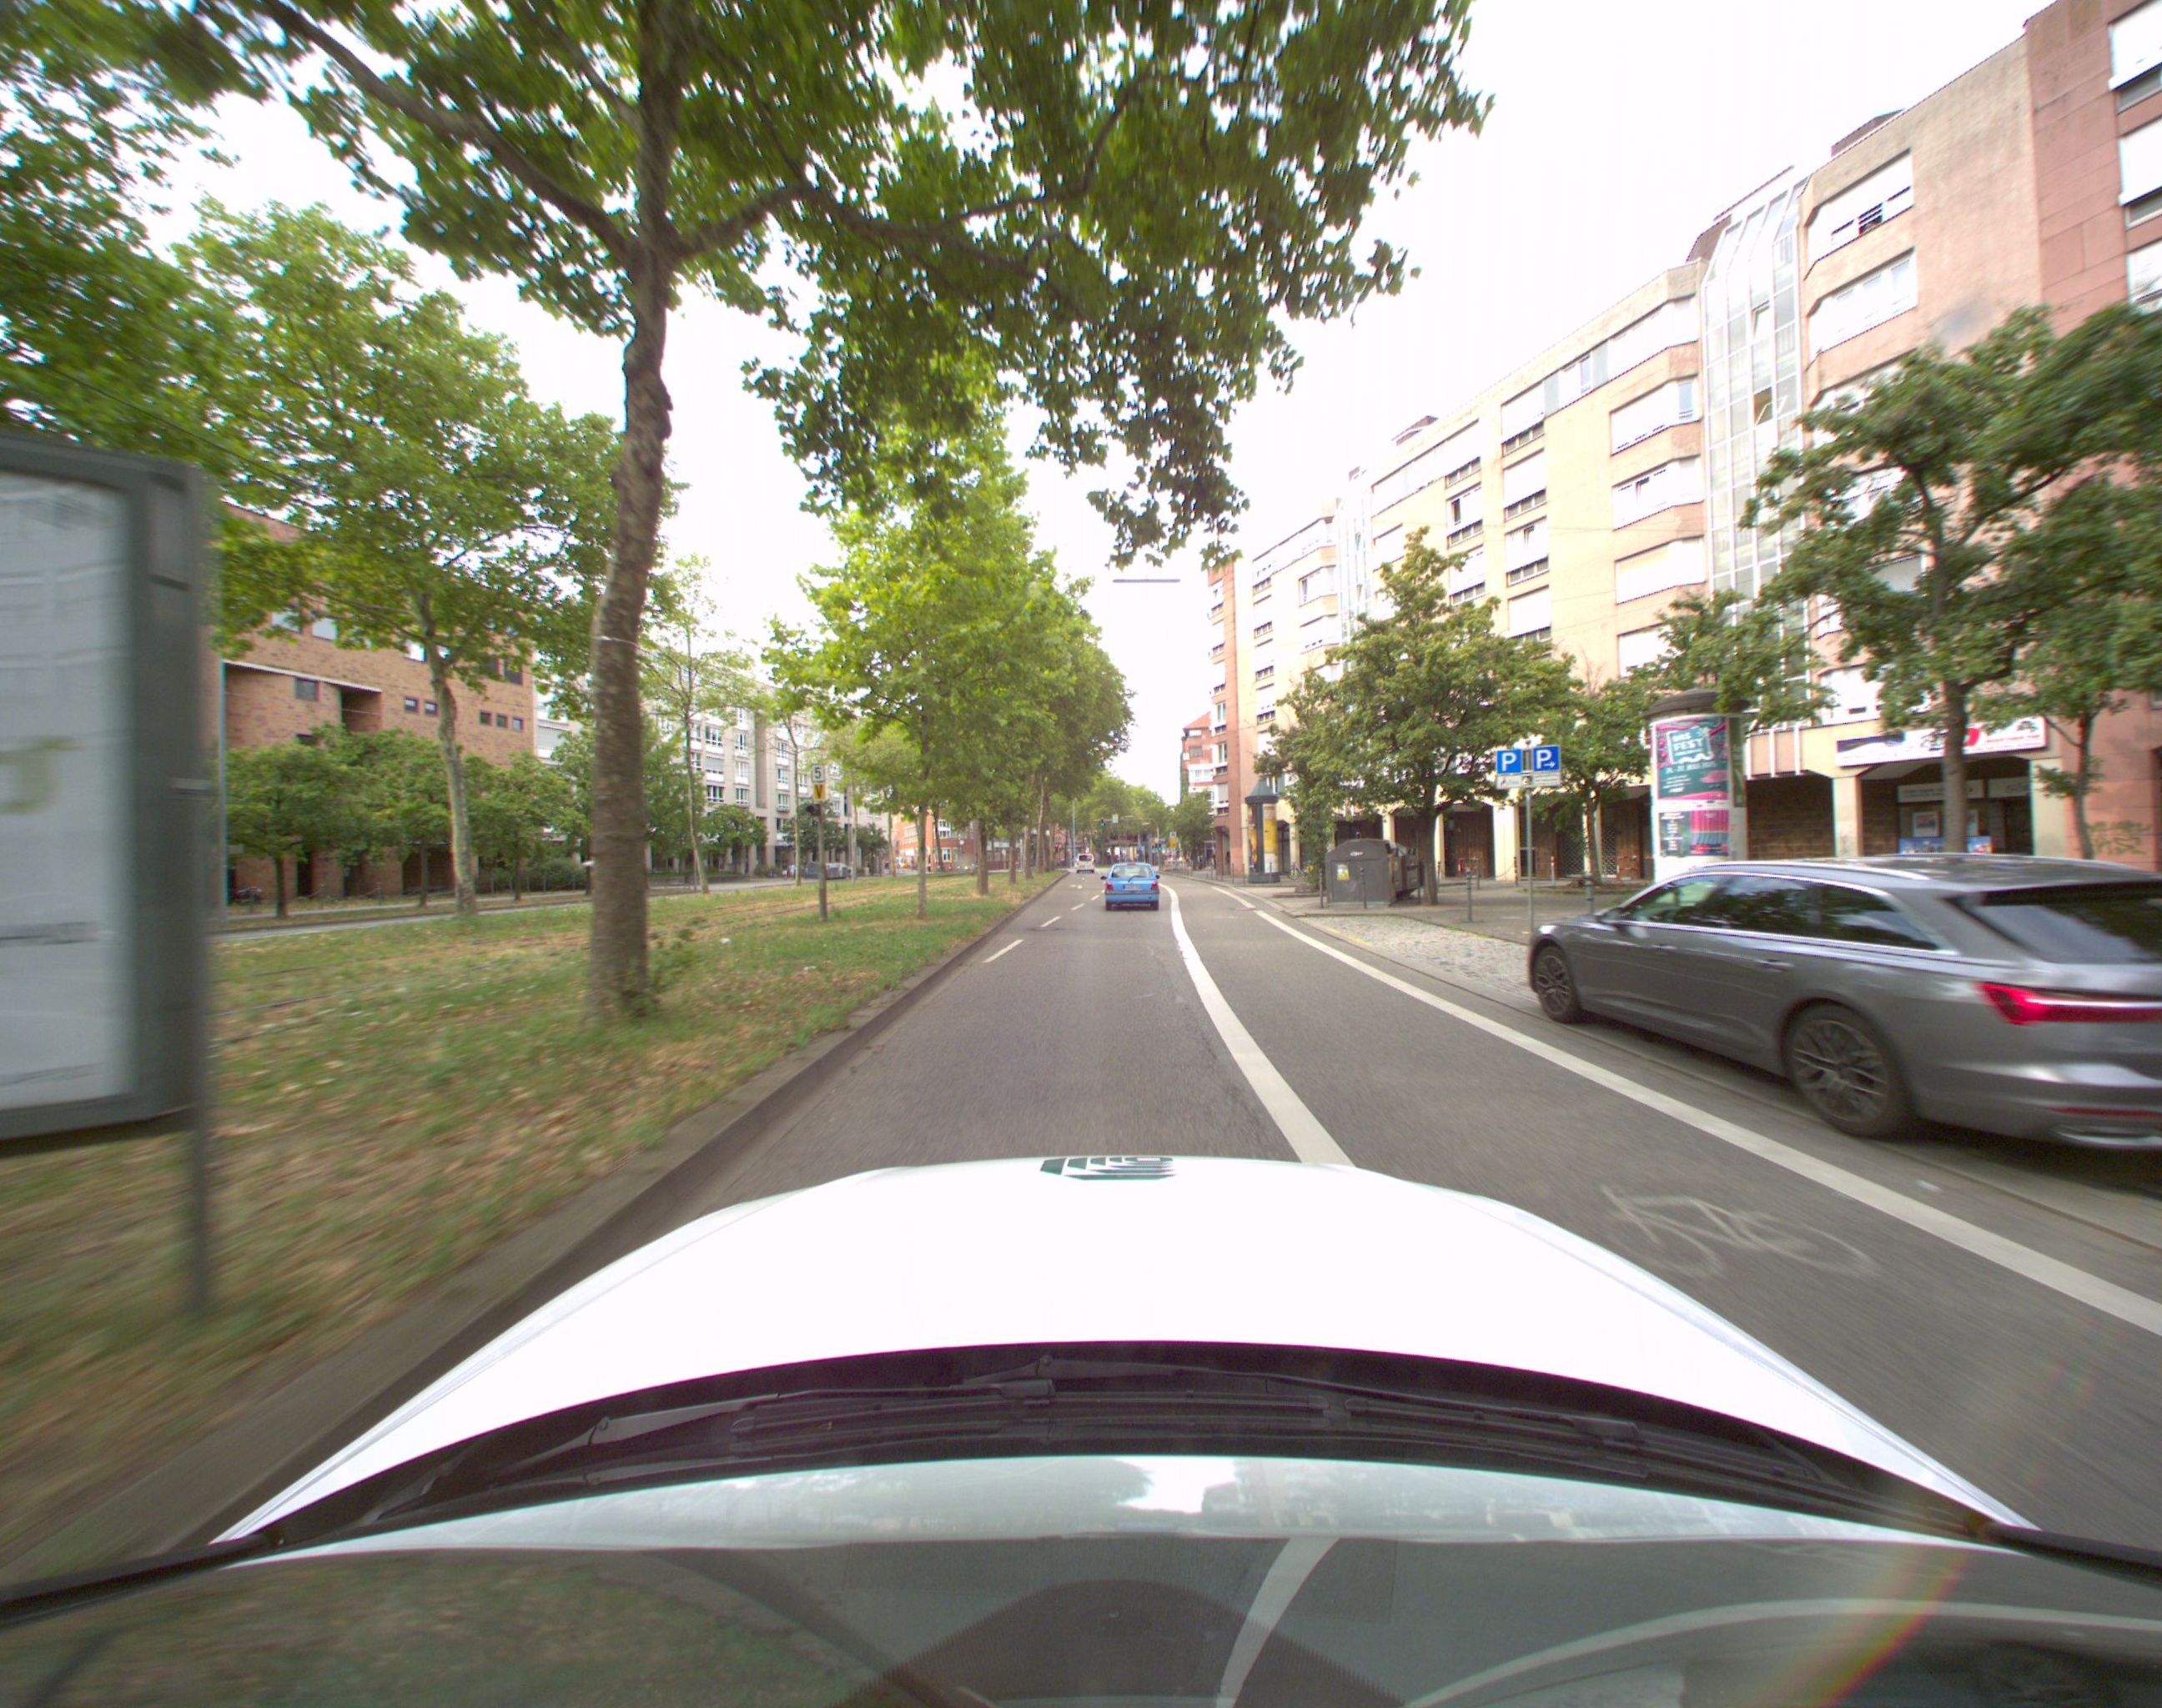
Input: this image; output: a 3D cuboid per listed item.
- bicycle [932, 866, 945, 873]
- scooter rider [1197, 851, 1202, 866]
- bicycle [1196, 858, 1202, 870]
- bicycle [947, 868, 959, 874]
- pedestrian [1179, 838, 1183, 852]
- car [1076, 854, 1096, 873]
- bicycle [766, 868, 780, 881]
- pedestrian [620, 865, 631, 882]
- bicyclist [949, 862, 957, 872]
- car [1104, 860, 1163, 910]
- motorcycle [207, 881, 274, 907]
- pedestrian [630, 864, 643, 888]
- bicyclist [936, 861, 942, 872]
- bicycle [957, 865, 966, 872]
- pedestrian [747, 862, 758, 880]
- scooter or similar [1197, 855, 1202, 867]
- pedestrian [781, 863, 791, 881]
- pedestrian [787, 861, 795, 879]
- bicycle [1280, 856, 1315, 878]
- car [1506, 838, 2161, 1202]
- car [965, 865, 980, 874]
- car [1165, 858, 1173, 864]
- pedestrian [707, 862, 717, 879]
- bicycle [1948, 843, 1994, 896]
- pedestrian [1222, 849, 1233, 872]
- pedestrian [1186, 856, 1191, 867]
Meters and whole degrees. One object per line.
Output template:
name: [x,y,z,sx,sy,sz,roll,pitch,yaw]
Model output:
bicycle: [-21.847,2.362,125.207,1.885,1.092,0.571,-1,-1,-36]
scooter rider: [12.740,0.510,87.575,0.458,1.557,0.565,-1,-1,4]
bicycle: [11.514,1.003,79.416,0.609,1.118,1.808,-1,0,8]
bicycle: [-20.714,2.713,131.729,1.996,0.836,0.572,-1,-1,-36]
pedestrian: [11.811,-1.019,96.176,0.514,1.616,0.852,-1,-1,6]
car: [0.559,0.961,84.856,1.925,1.926,4.956,-2,0,1]
bicycle: [-31.523,2.089,83.329,0.530,1.212,1.843,-2,0,8]
pedestrian: [-36.477,1.582,65.247,0.454,1.323,0.556,-2,0,12]
bicyclist: [-20.753,2.070,131.719,1.039,1.562,0.576,-1,-1,-36]
car: [1.535,0.898,25.052,1.634,1.386,3.844,-1,0,1]
motorcycle: [-42.520,2.008,41.246,2.199,1.191,0.791,-1,-1,-23]
pedestrian: [-32.097,1.593,58.791,0.550,1.705,0.627,-1,0,5]
bicyclist: [-21.857,1.959,125.219,0.788,1.673,0.567,-1,-1,-36]
bicycle: [-19.664,2.451,134.041,0.686,1.092,1.884,-1,0,14]
pedestrian: [-33.179,1.719,82.190,0.765,1.809,0.694,-2,-1,10]
scooter or similar: [12.777,0.751,87.855,0.471,1.206,1.333,-1,-1,7]
pedestrian: [-28.390,1.702,78.281,0.550,1.705,0.885,-1,0,5]
pedestrian: [-27.853,1.489,78.221,0.550,1.705,0.627,-1,0,5]
bicycle: [11.597,0.683,43.567,1.644,1.129,0.674,-3,-1,42]
car: [5.002,0.679,5.668,1.809,1.442,4.670,-3,0,3]
car: [-17.474,2.514,131.580,1.724,1.245,4.534,-1,0,0]
car: [24.914,2.041,229.923,1.873,1.624,4.014,-2,-1,13]
pedestrian: [-36.203,1.619,79.874,0.633,1.672,0.661,-1,-1,9]
bicycle: [19.655,0.322,18.012,1.975,1.112,0.590,-1,-1,-44]
pedestrian: [10.500,0.470,58.456,0.538,1.650,0.830,-2,-1,27]
pedestrian: [14.803,1.011,112.398,0.672,1.538,0.949,-2,-1,8]
